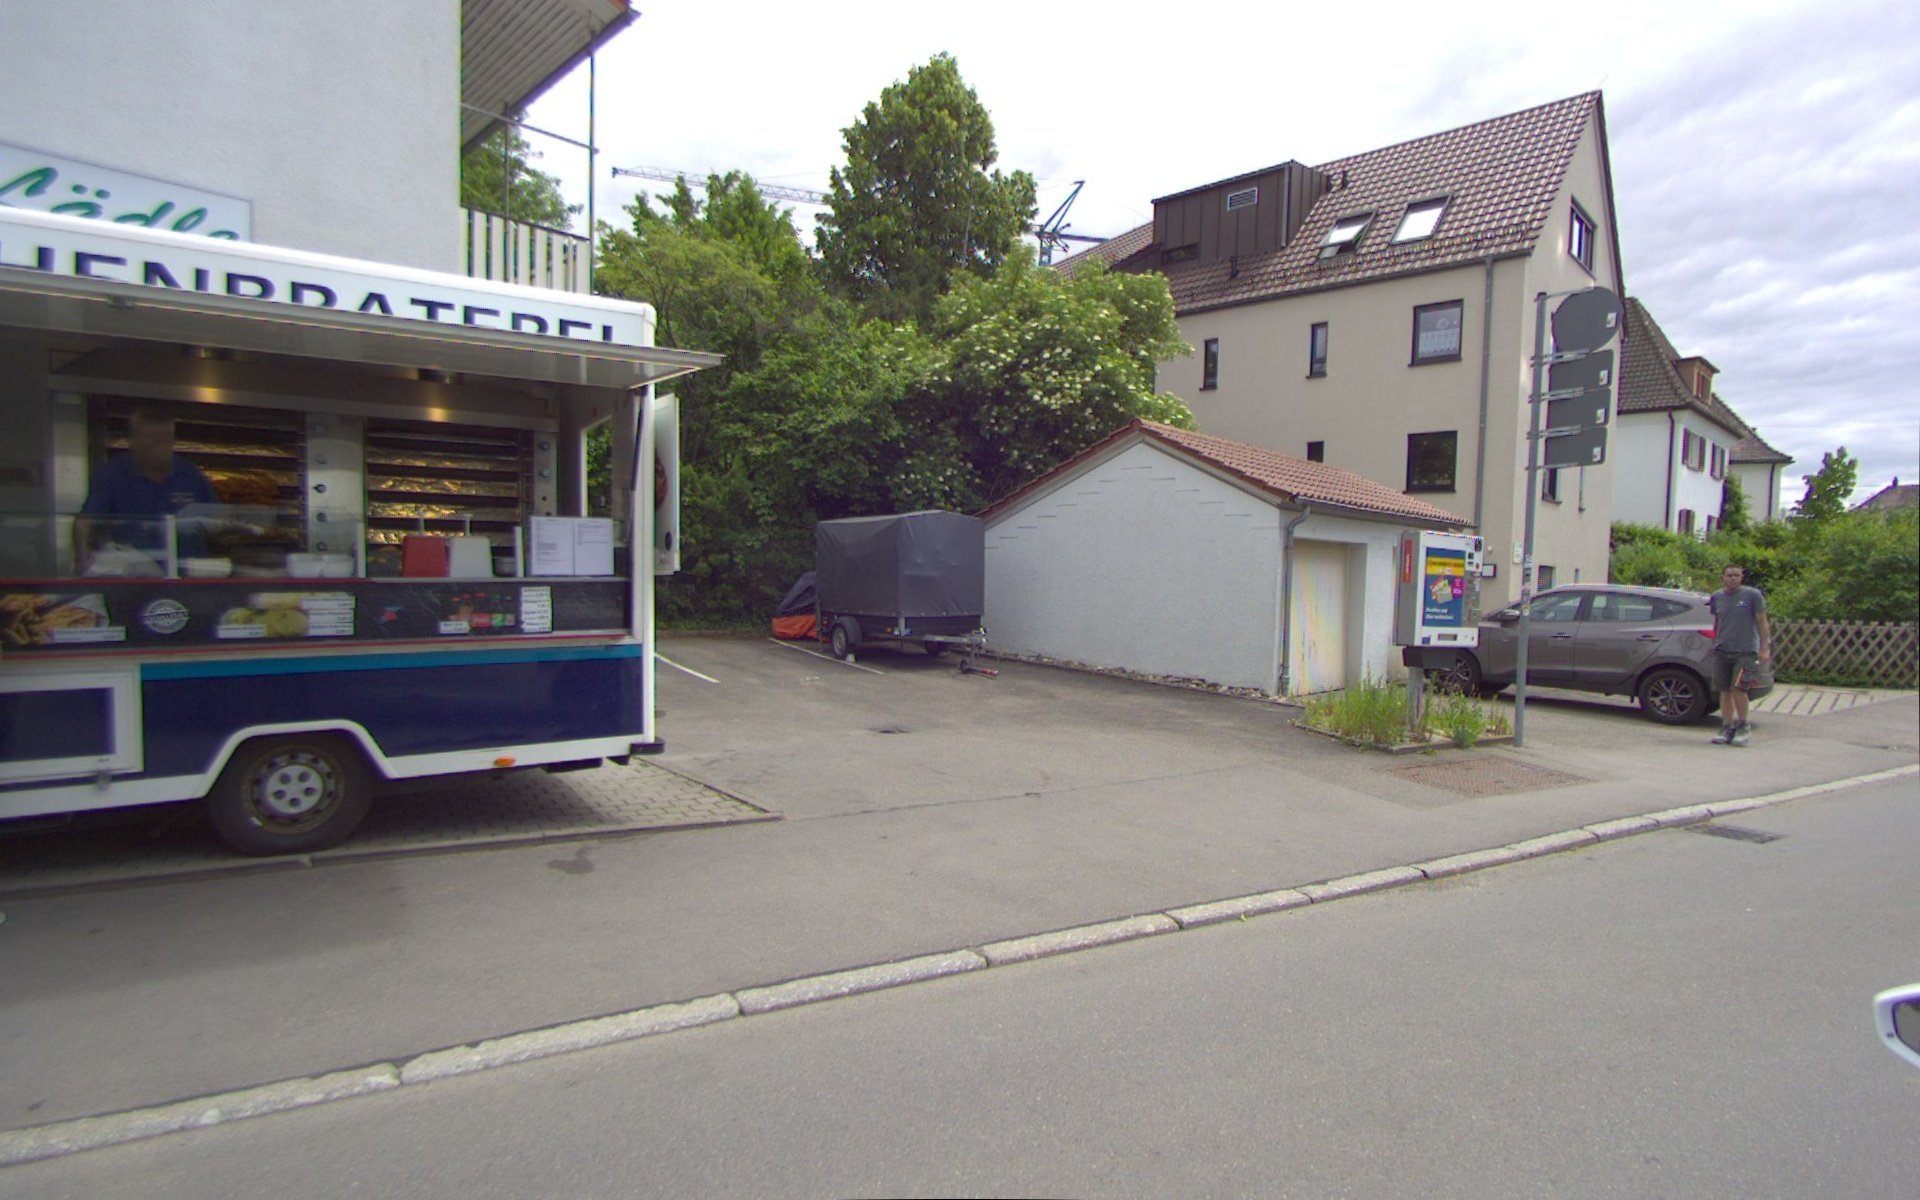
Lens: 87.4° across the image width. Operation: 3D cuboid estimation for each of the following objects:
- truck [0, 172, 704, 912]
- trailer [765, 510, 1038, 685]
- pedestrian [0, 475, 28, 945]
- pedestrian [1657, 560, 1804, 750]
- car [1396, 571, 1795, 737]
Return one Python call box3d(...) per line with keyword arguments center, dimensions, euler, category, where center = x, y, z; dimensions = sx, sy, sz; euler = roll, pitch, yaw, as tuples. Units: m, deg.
box3d(center=(-4.844, -0.268, 4.638), dimensions=(6.638, 2.879, 2.457), euler=(1, 2, -34), category="truck")
box3d(center=(-1.063, -0.209, 14.585), dimensions=(1.686, 2.108, 4.830), euler=(-1, 5, -34), category="trailer")
box3d(center=(-3.824, 0.389, 3.643), dimensions=(0.591, 1.718, 0.398), euler=(1, 4, -34), category="pedestrian")
box3d(center=(8.522, 0.584, 11.119), dimensions=(1.202, 1.972, 0.730), euler=(1, 3, -29), category="pedestrian")
box3d(center=(8.611, 0.592, 13.918), dimensions=(1.785, 1.718, 4.270), euler=(0, 4, -43), category="car")
